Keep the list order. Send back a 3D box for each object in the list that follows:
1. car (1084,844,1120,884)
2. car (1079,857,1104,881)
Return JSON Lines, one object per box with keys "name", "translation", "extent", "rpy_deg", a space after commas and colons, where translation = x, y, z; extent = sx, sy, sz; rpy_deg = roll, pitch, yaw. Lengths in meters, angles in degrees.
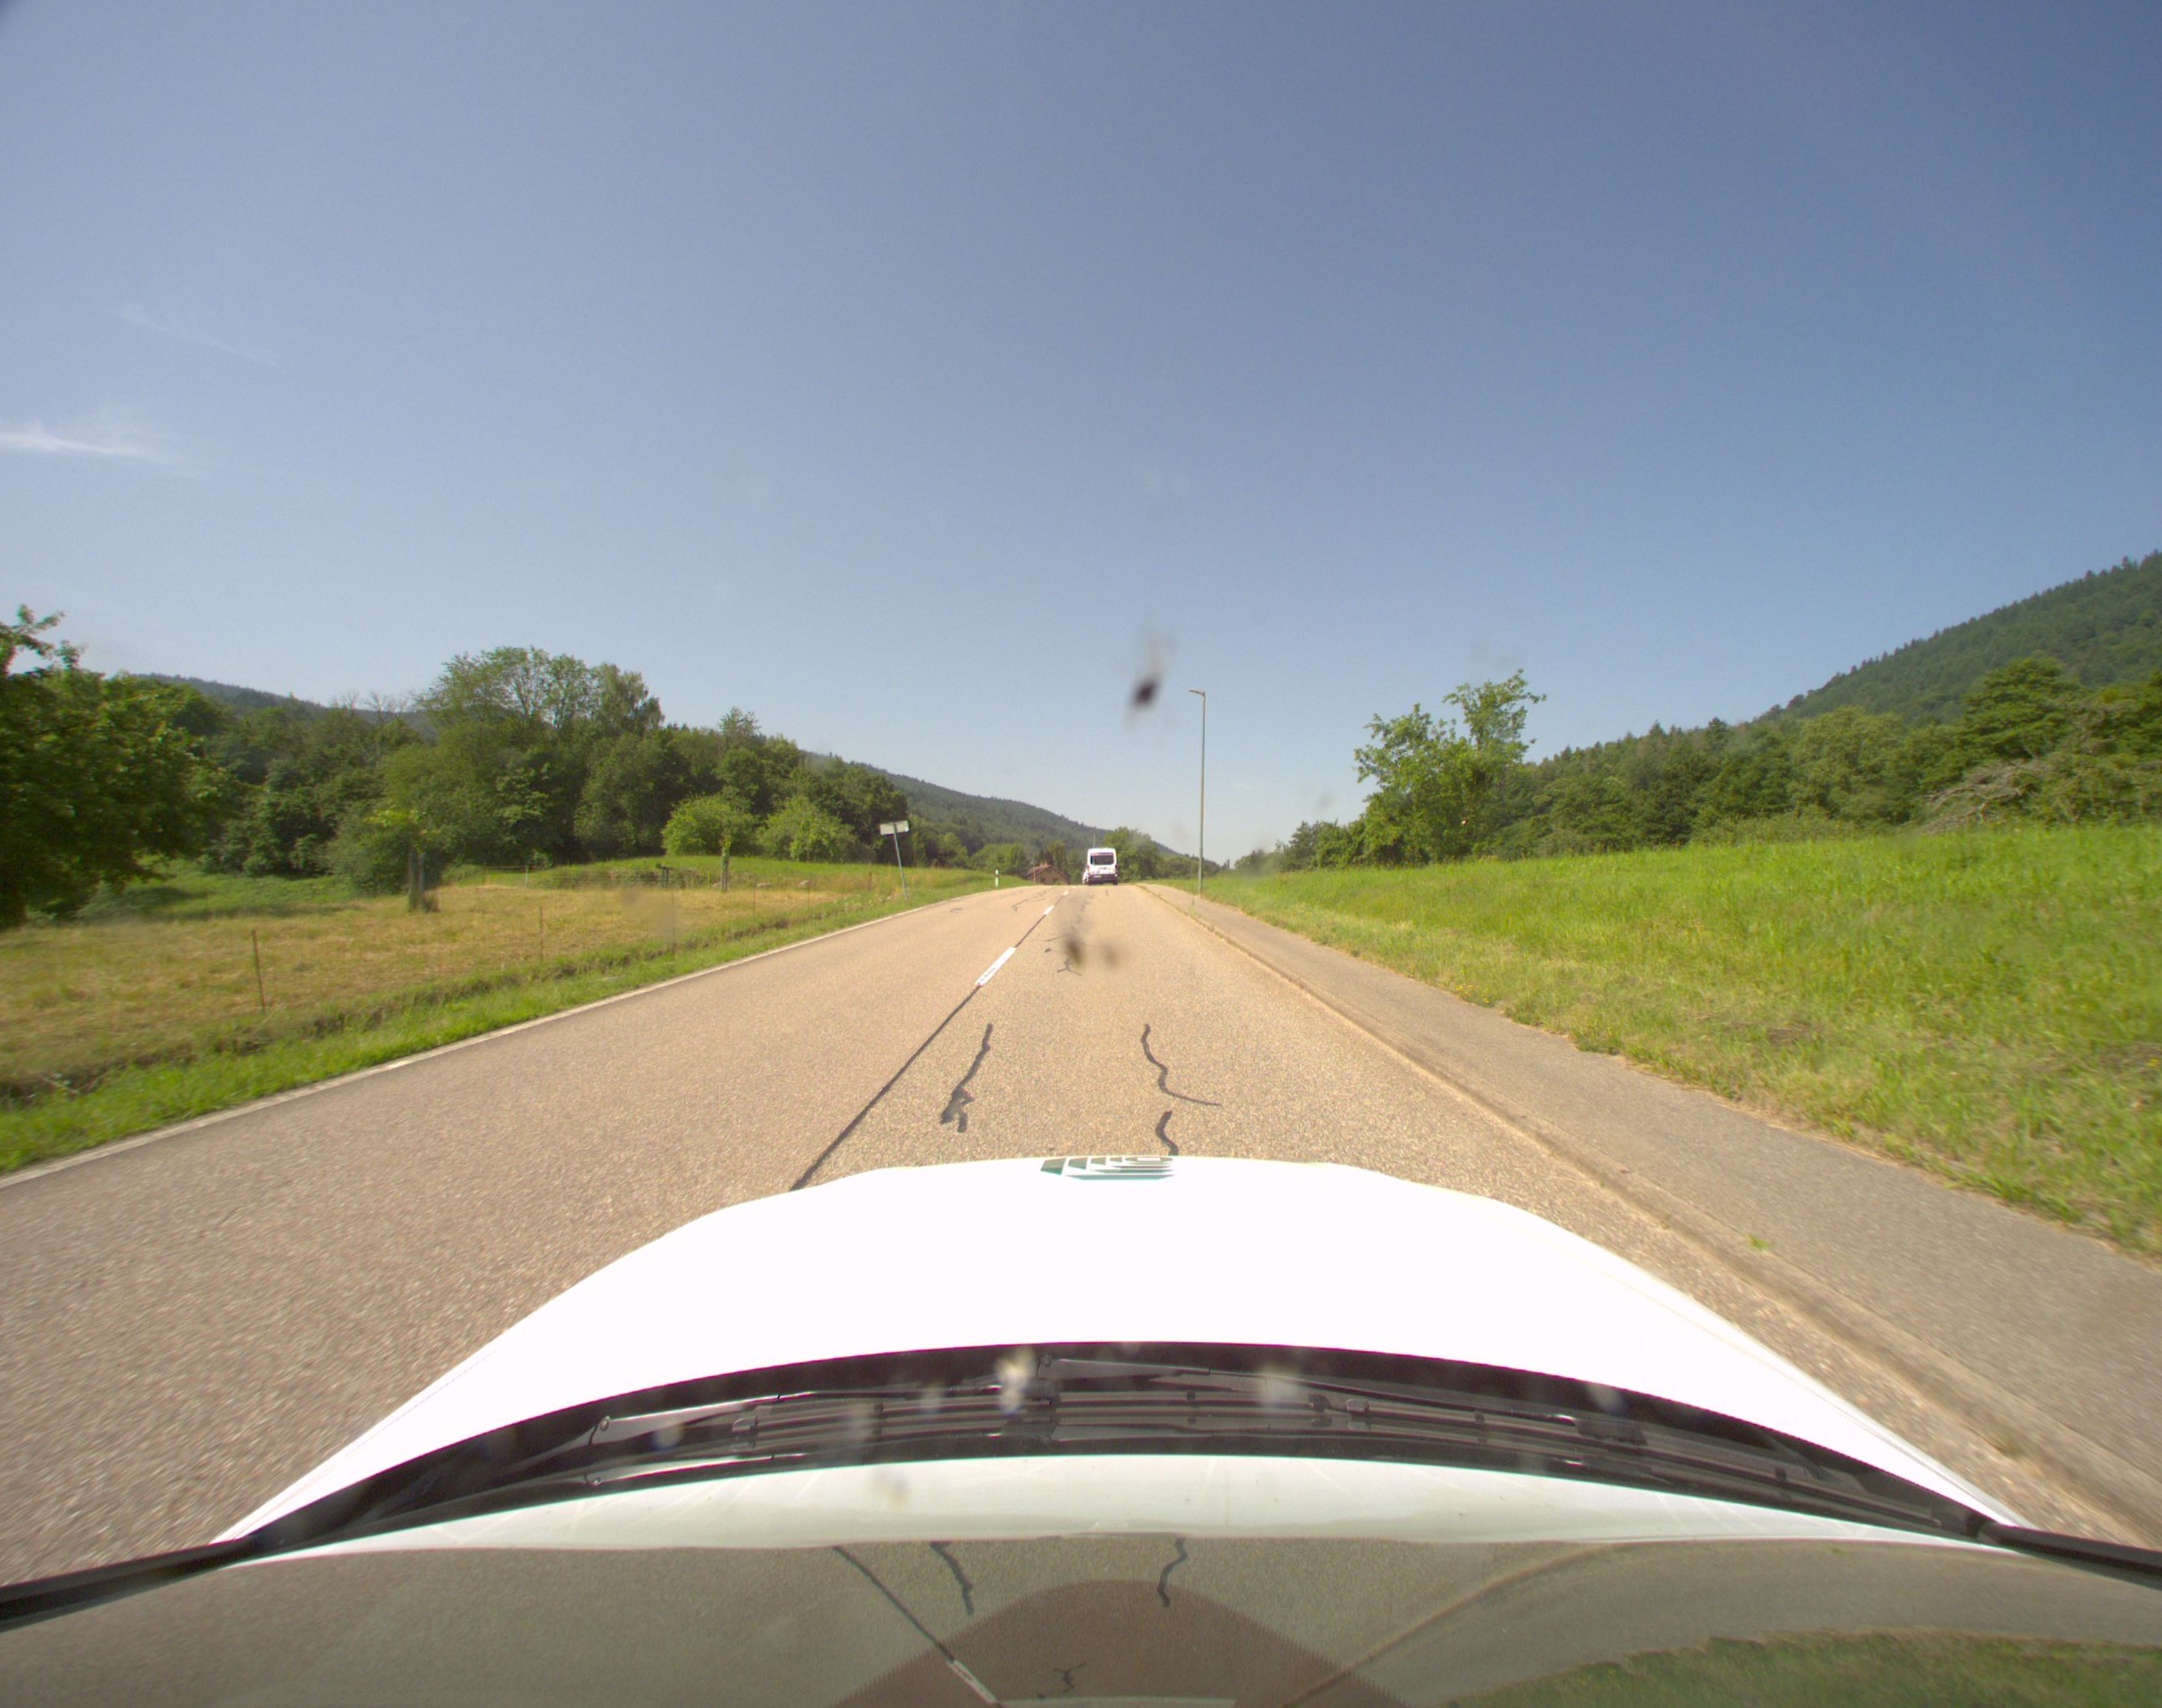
{"name": "car", "translation": [1.444, 0.749, 55.774], "extent": [2.215, 2.526, 4.984], "rpy_deg": [-3, -3, 1]}
{"name": "car", "translation": [1.035, 1.581, 85.848], "extent": [2.217, 2.287, 4.978], "rpy_deg": [-3, -3, -3]}
